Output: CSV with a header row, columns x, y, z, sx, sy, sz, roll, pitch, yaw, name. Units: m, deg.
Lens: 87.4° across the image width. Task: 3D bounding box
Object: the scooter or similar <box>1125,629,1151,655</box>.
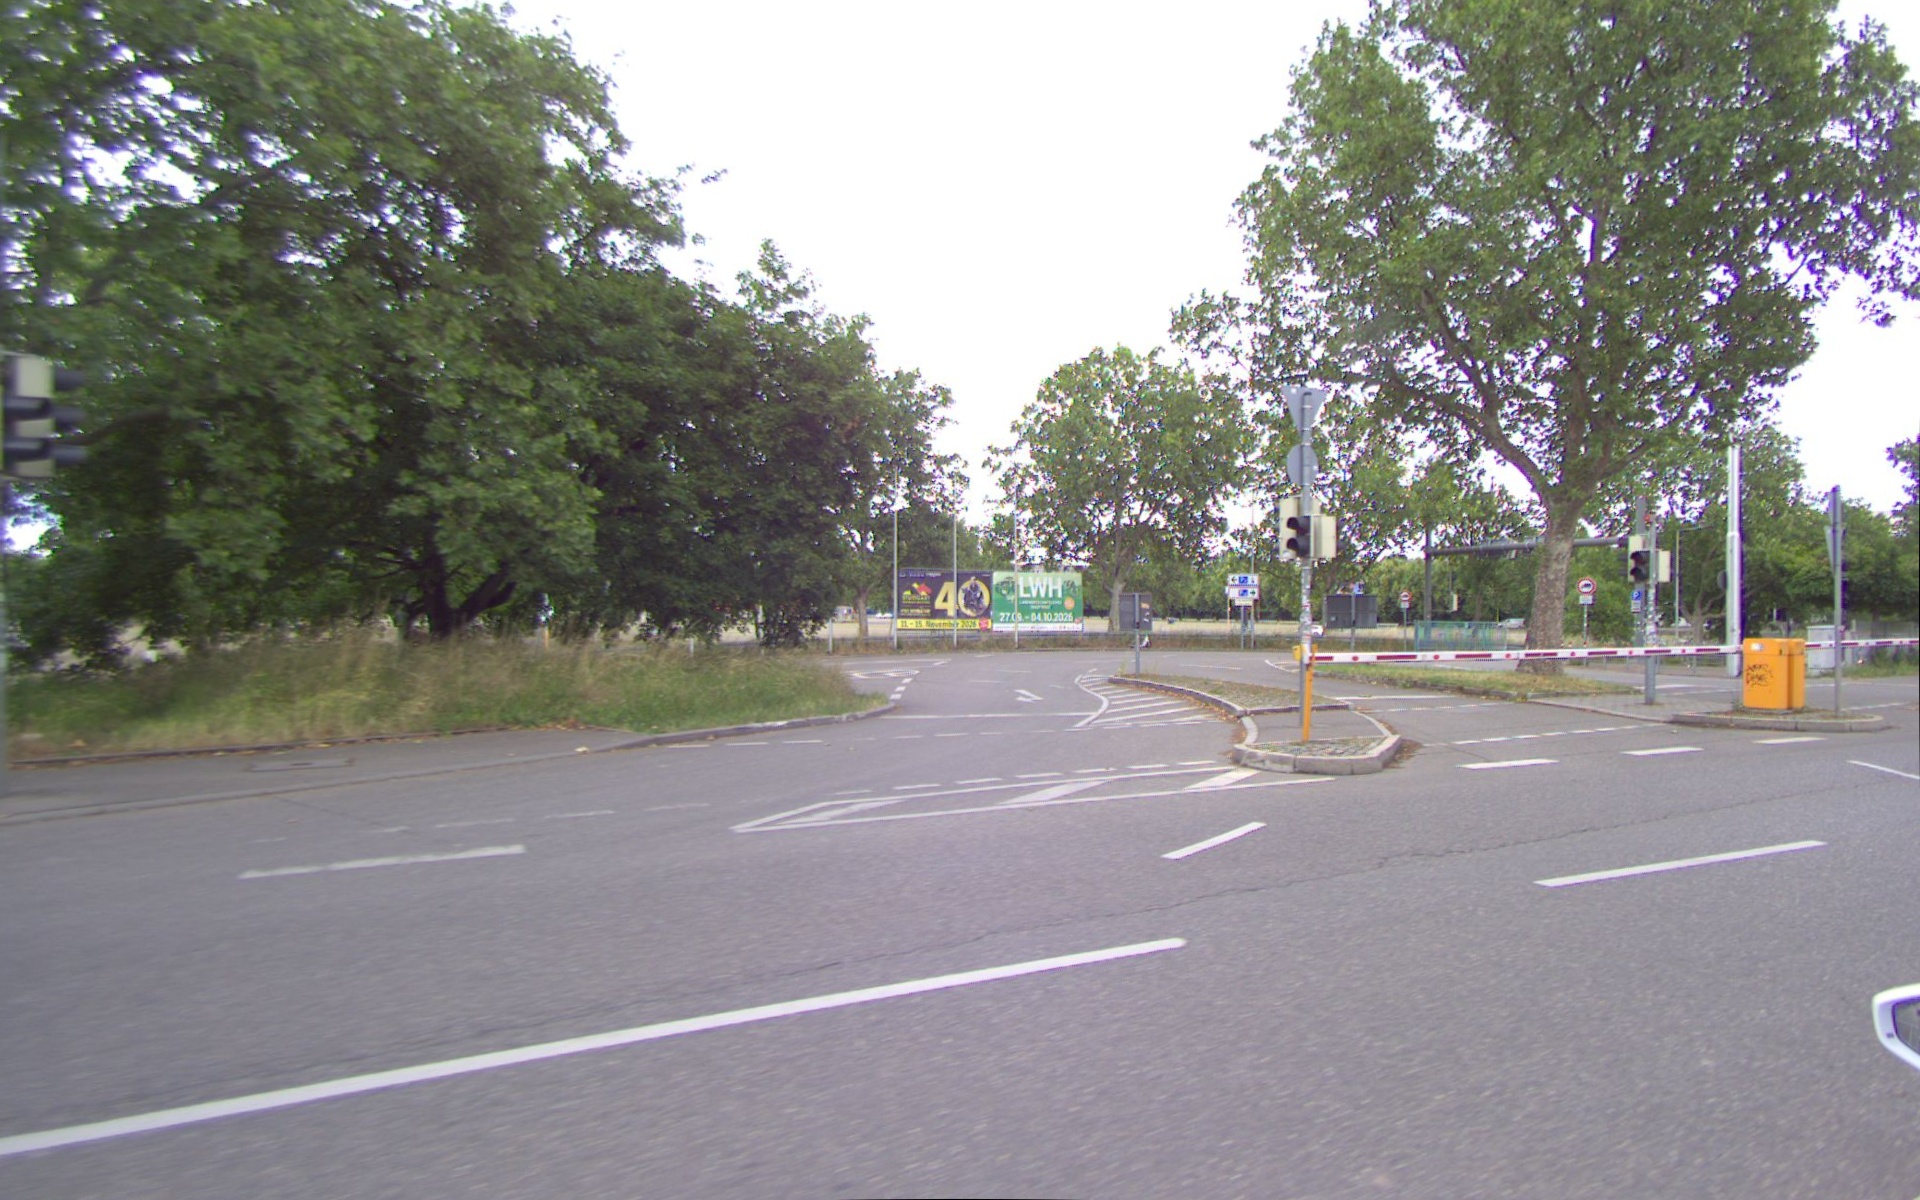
x,y,z,sx,sy,sz,roll,pitch,yaw,name
8.813,2.077,49.769,1.201,1.237,0.414,1,0,-19,scooter or similar
